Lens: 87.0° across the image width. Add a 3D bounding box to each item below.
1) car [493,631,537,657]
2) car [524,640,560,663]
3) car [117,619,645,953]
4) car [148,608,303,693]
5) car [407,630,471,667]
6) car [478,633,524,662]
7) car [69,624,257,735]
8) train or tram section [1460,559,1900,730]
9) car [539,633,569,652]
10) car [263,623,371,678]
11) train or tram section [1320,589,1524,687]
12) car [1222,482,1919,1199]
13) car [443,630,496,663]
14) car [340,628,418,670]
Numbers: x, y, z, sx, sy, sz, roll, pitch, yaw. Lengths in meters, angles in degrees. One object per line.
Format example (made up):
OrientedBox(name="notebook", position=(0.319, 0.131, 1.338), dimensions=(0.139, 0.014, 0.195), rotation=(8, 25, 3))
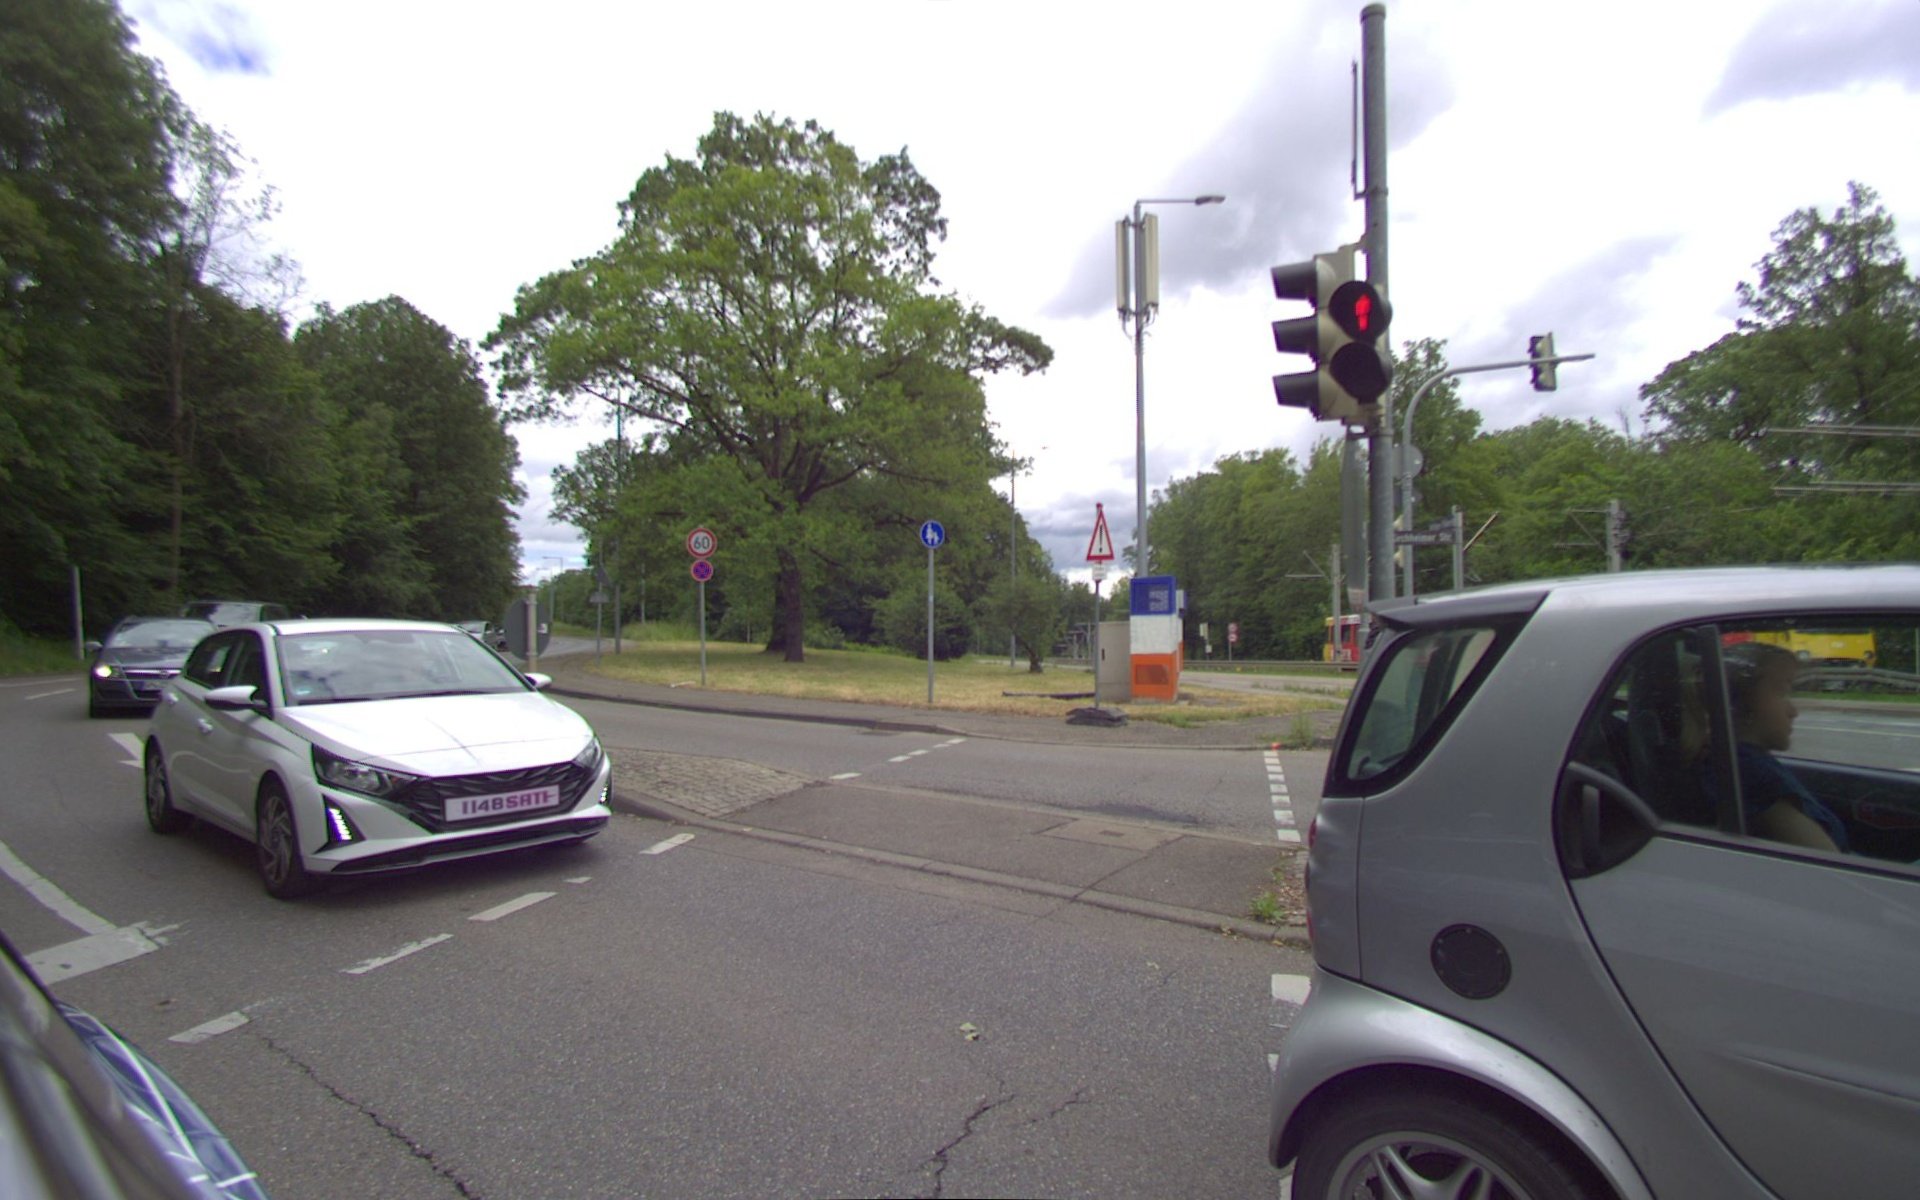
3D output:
OrientedBox(name="car", position=(-26.822, 2.669, 61.109), dimensions=(1.749, 1.511, 3.883), rotation=(1, -3, -14))
OrientedBox(name="car", position=(-28.485, 3.502, 69.082), dimensions=(1.749, 1.511, 3.883), rotation=(1, -3, -14))
OrientedBox(name="car", position=(-3.894, 0.902, 6.507), dimensions=(4.070, 1.490, 1.633), rotation=(-1, -3, 40))
OrientedBox(name="car", position=(-17.875, 1.218, 24.899), dimensions=(1.957, 1.887, 4.546), rotation=(2, -3, -21))
OrientedBox(name="car", position=(-22.303, 2.077, 43.461), dimensions=(1.749, 1.511, 3.884), rotation=(2, -3, -17))
OrientedBox(name="car", position=(-25.112, 2.581, 55.470), dimensions=(1.749, 1.511, 3.884), rotation=(2, -3, -17))
OrientedBox(name="car", position=(-12.423, 1.170, 16.063), dimensions=(1.773, 1.490, 4.483), rotation=(2, -3, -31))
OrientedBox(name="train or tram section", position=(24.565, 1.355, 37.372), dimensions=(2.915, 4.686, 18.544), rotation=(1, -1, 0))
OrientedBox(name="car", position=(-33.747, 3.543, 84.238), dimensions=(1.749, 1.511, 3.883), rotation=(1, -3, -14))
OrientedBox(name="car", position=(-20.911, 1.623, 33.092), dimensions=(1.764, 1.687, 4.001), rotation=(1, -2, -14))
OrientedBox(name="train or tram section", position=(24.623, 1.875, 56.003), dimensions=(2.925, 4.452, 18.723), rotation=(1, -1, 1))
OrientedBox(name="car", position=(2.050, 0.653, 1.878), dimensions=(2.721, 1.598, 1.445), rotation=(-1, -3, 34))
OrientedBox(name="car", position=(-24.101, 2.280, 49.859), dimensions=(1.749, 1.511, 3.884), rotation=(2, -3, -17))
OrientedBox(name="car", position=(-21.932, 1.839, 38.345), dimensions=(1.749, 1.511, 3.884), rotation=(2, -3, -17))
